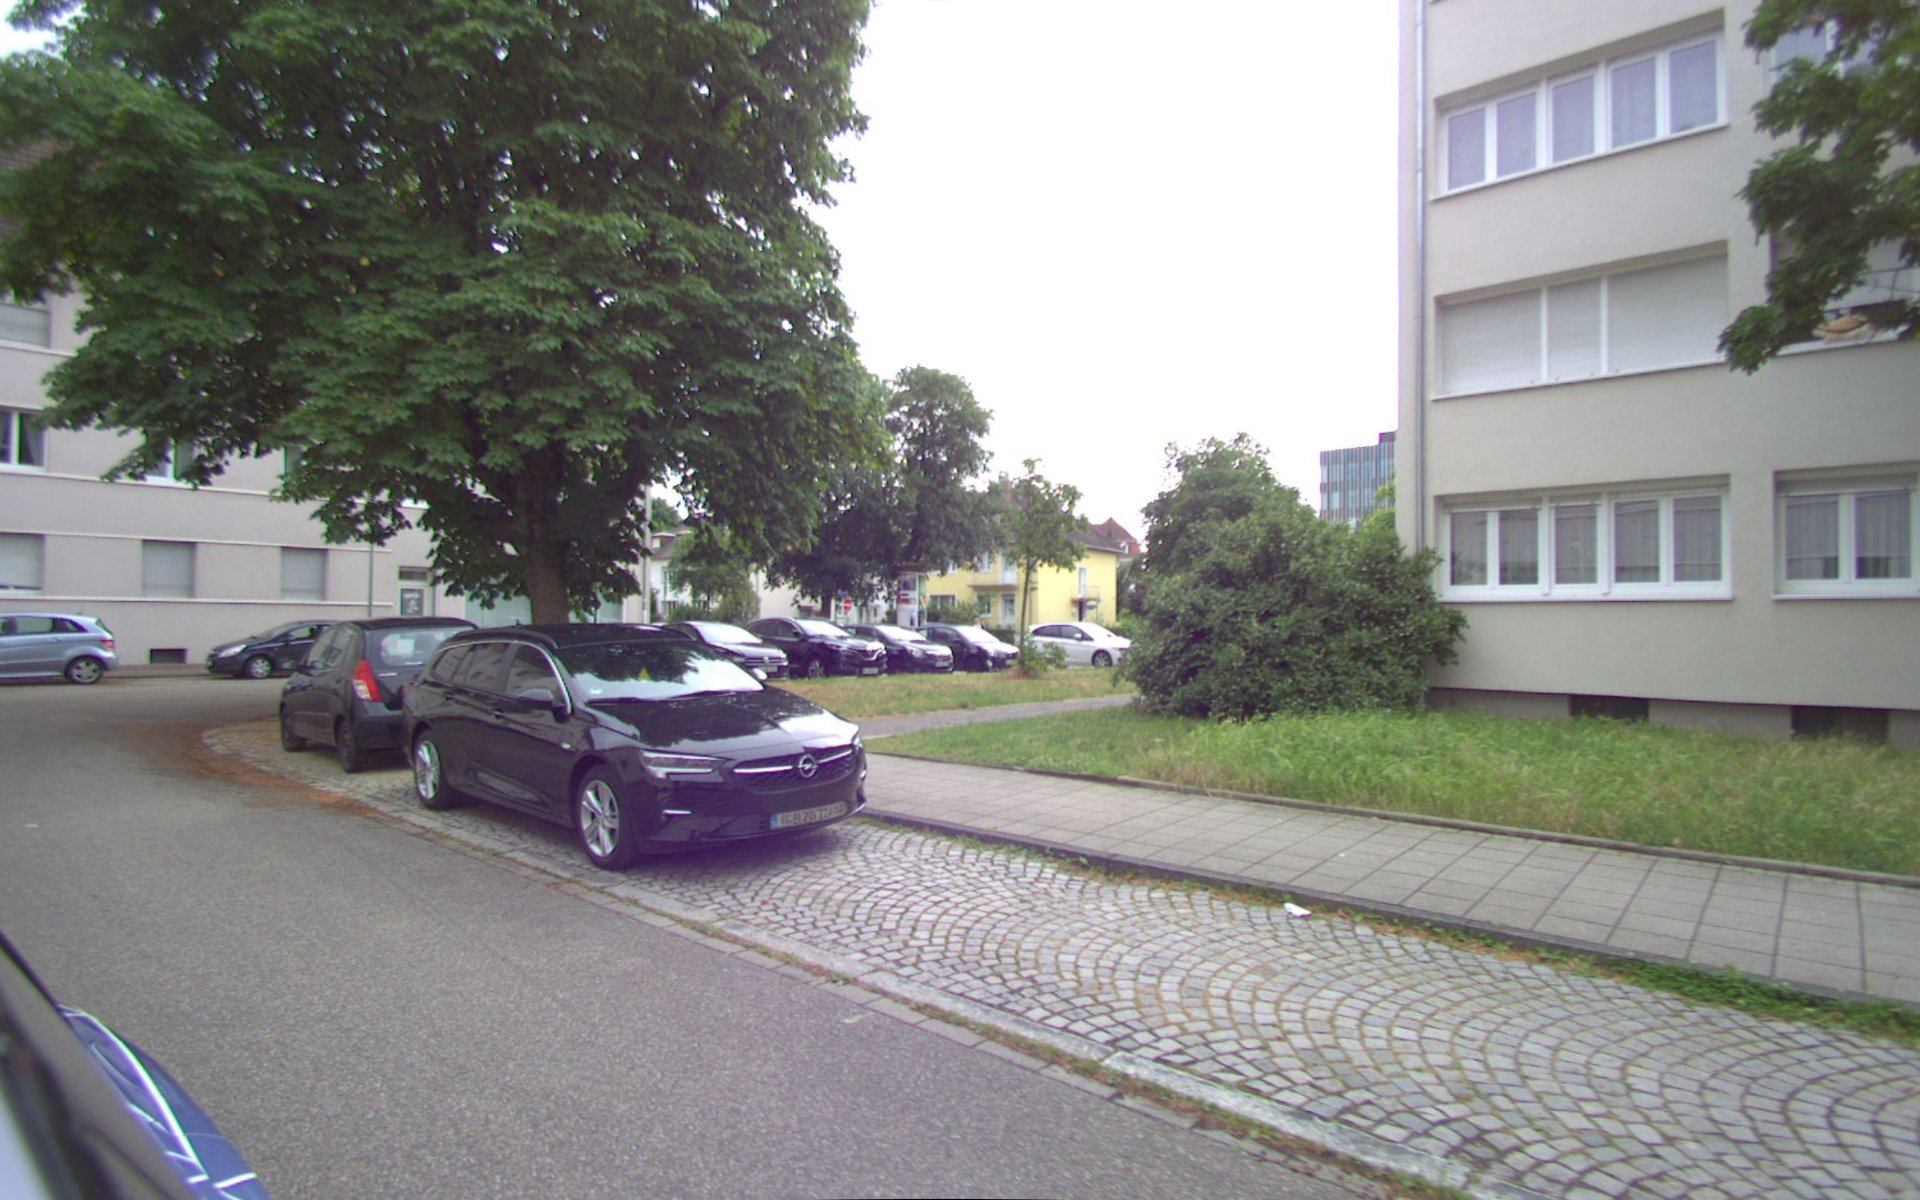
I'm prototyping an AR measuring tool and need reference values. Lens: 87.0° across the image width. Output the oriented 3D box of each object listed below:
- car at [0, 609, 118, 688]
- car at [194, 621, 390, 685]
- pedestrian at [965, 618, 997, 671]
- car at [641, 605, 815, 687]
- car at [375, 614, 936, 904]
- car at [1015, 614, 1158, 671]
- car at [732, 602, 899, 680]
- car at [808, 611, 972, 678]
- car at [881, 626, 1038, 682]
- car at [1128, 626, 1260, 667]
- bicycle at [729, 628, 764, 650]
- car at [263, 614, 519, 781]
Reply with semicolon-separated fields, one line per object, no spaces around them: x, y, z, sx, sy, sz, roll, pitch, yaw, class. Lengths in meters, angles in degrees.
-20.798;1.026;21.638;1.763;1.640;4.139;-2;-2;44;car
-17.080;1.294;26.012;1.762;1.501;3.882;-1;-2;41;car
0.751;1.581;36.173;0.871;1.850;1.213;0;-2;15;pedestrian
-5.007;0.944;21.605;3.843;1.589;1.804;-1;-3;44;car
-2.575;0.898;7.691;4.833;1.475;1.847;-1;0;42;car
3.980;1.379;32.259;4.147;1.572;1.859;-6;-4;41;car
-3.515;0.981;24.167;1.888;1.710;4.070;1;-3;-45;car
-1.871;1.141;26.064;1.814;1.578;4.359;1;-3;-45;car
-0.093;1.512;28.993;1.814;1.475;4.562;1;-3;-45;car
8.742;1.750;38.071;4.552;1.465;1.659;-2;-3;37;car
-10.538;1.905;49.999;1.883;1.075;0.659;-1;-2;39;bicycle
-6.405;0.951;11.239;3.593;1.505;1.507;-1;0;44;car
